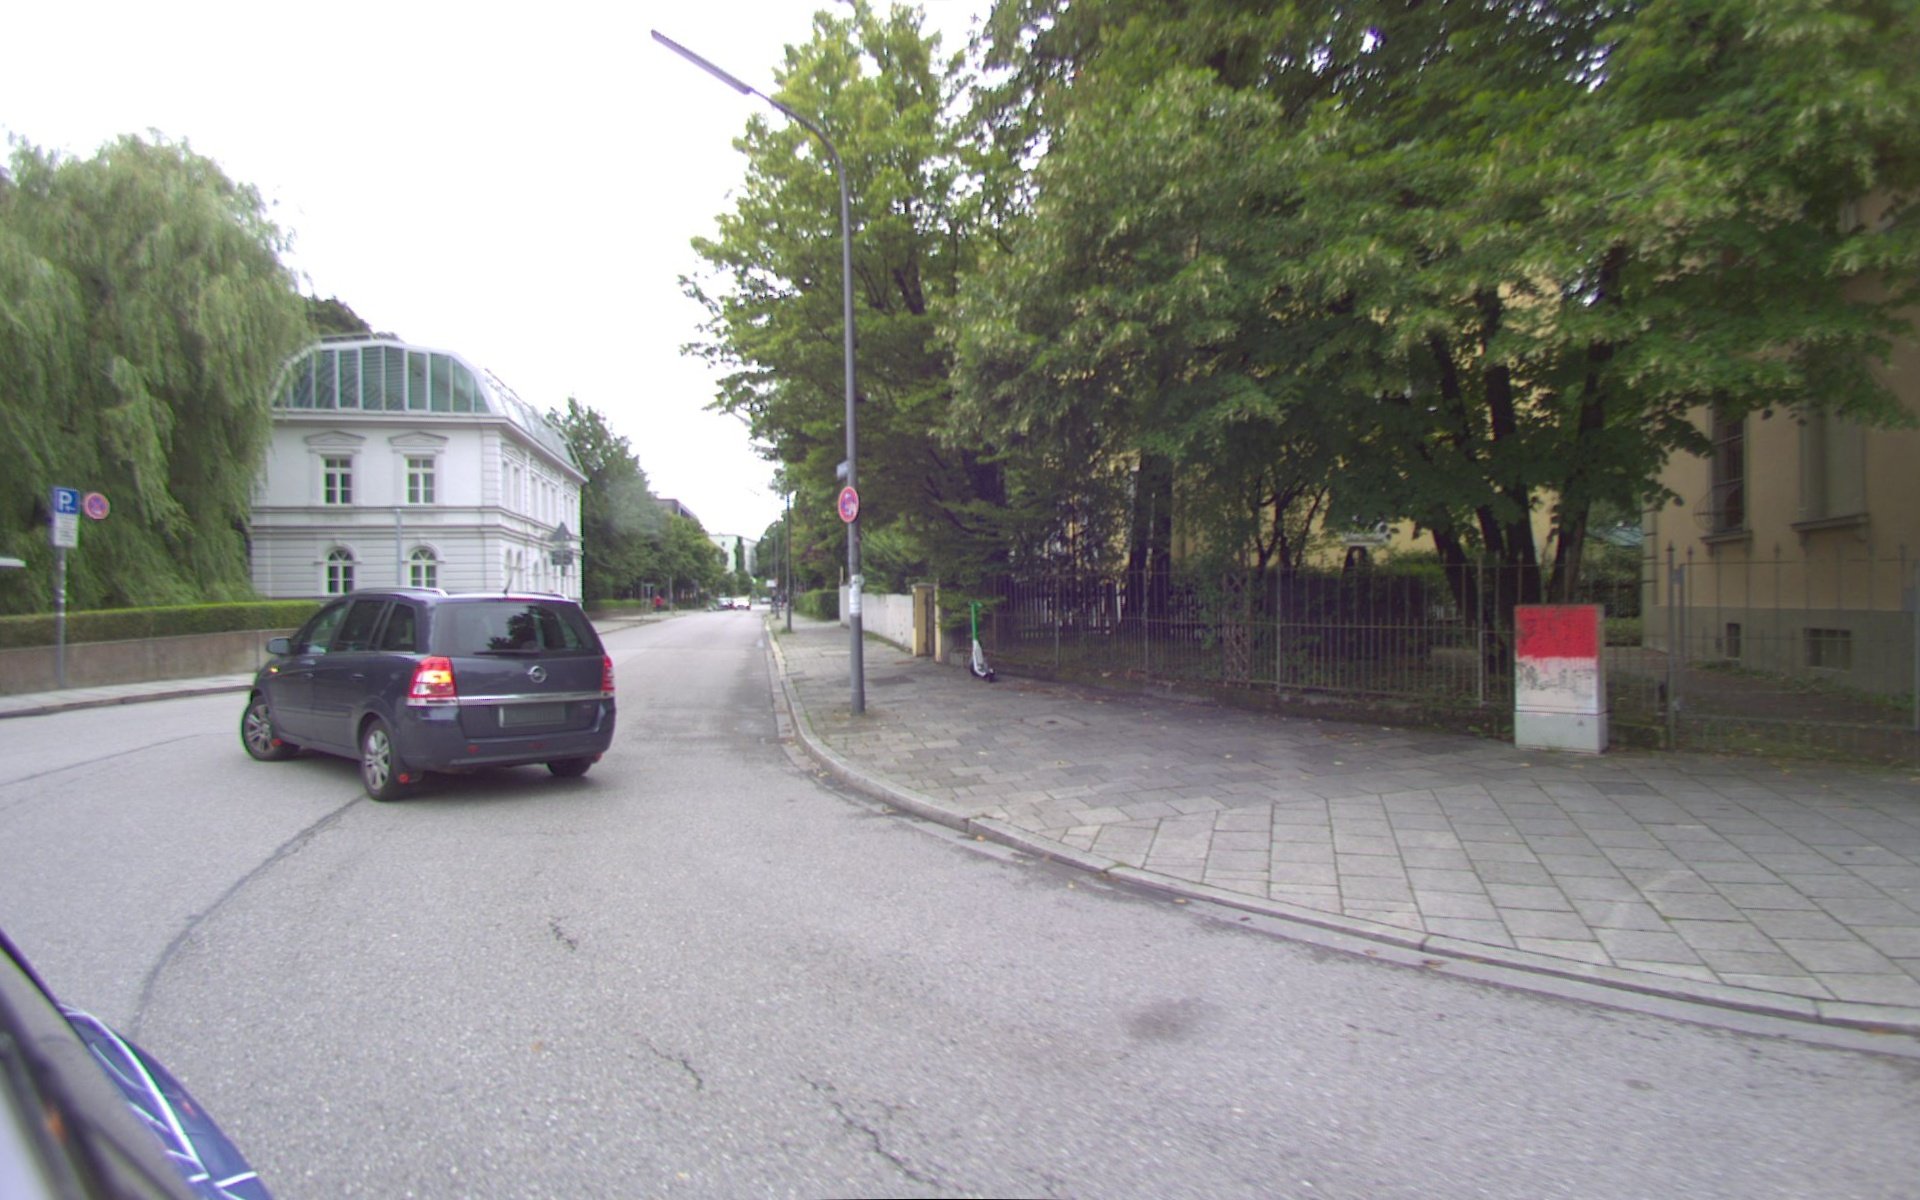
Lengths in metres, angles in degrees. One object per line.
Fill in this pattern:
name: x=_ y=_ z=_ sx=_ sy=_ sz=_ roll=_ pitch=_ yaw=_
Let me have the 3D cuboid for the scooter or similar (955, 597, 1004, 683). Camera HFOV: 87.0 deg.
scooter or similar: x=0.281 y=0.575 z=15.322 sx=0.386 sy=1.198 sz=1.422 roll=-5 pitch=1 yaw=-9

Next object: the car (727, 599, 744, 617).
car: x=-27.489 y=0.955 z=123.807 sx=1.967 sy=2.029 sz=4.010 roll=-1 pitch=1 yaw=-12

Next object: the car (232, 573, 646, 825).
car: x=-4.814 y=0.668 z=9.049 sx=4.335 sy=1.706 sz=1.972 roll=0 pitch=0 yaw=43

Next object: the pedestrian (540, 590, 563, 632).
pedestrian: x=-17.016 y=0.434 z=42.148 sx=0.669 sy=1.719 sz=0.769 roll=-1 pitch=0 yaw=-7
